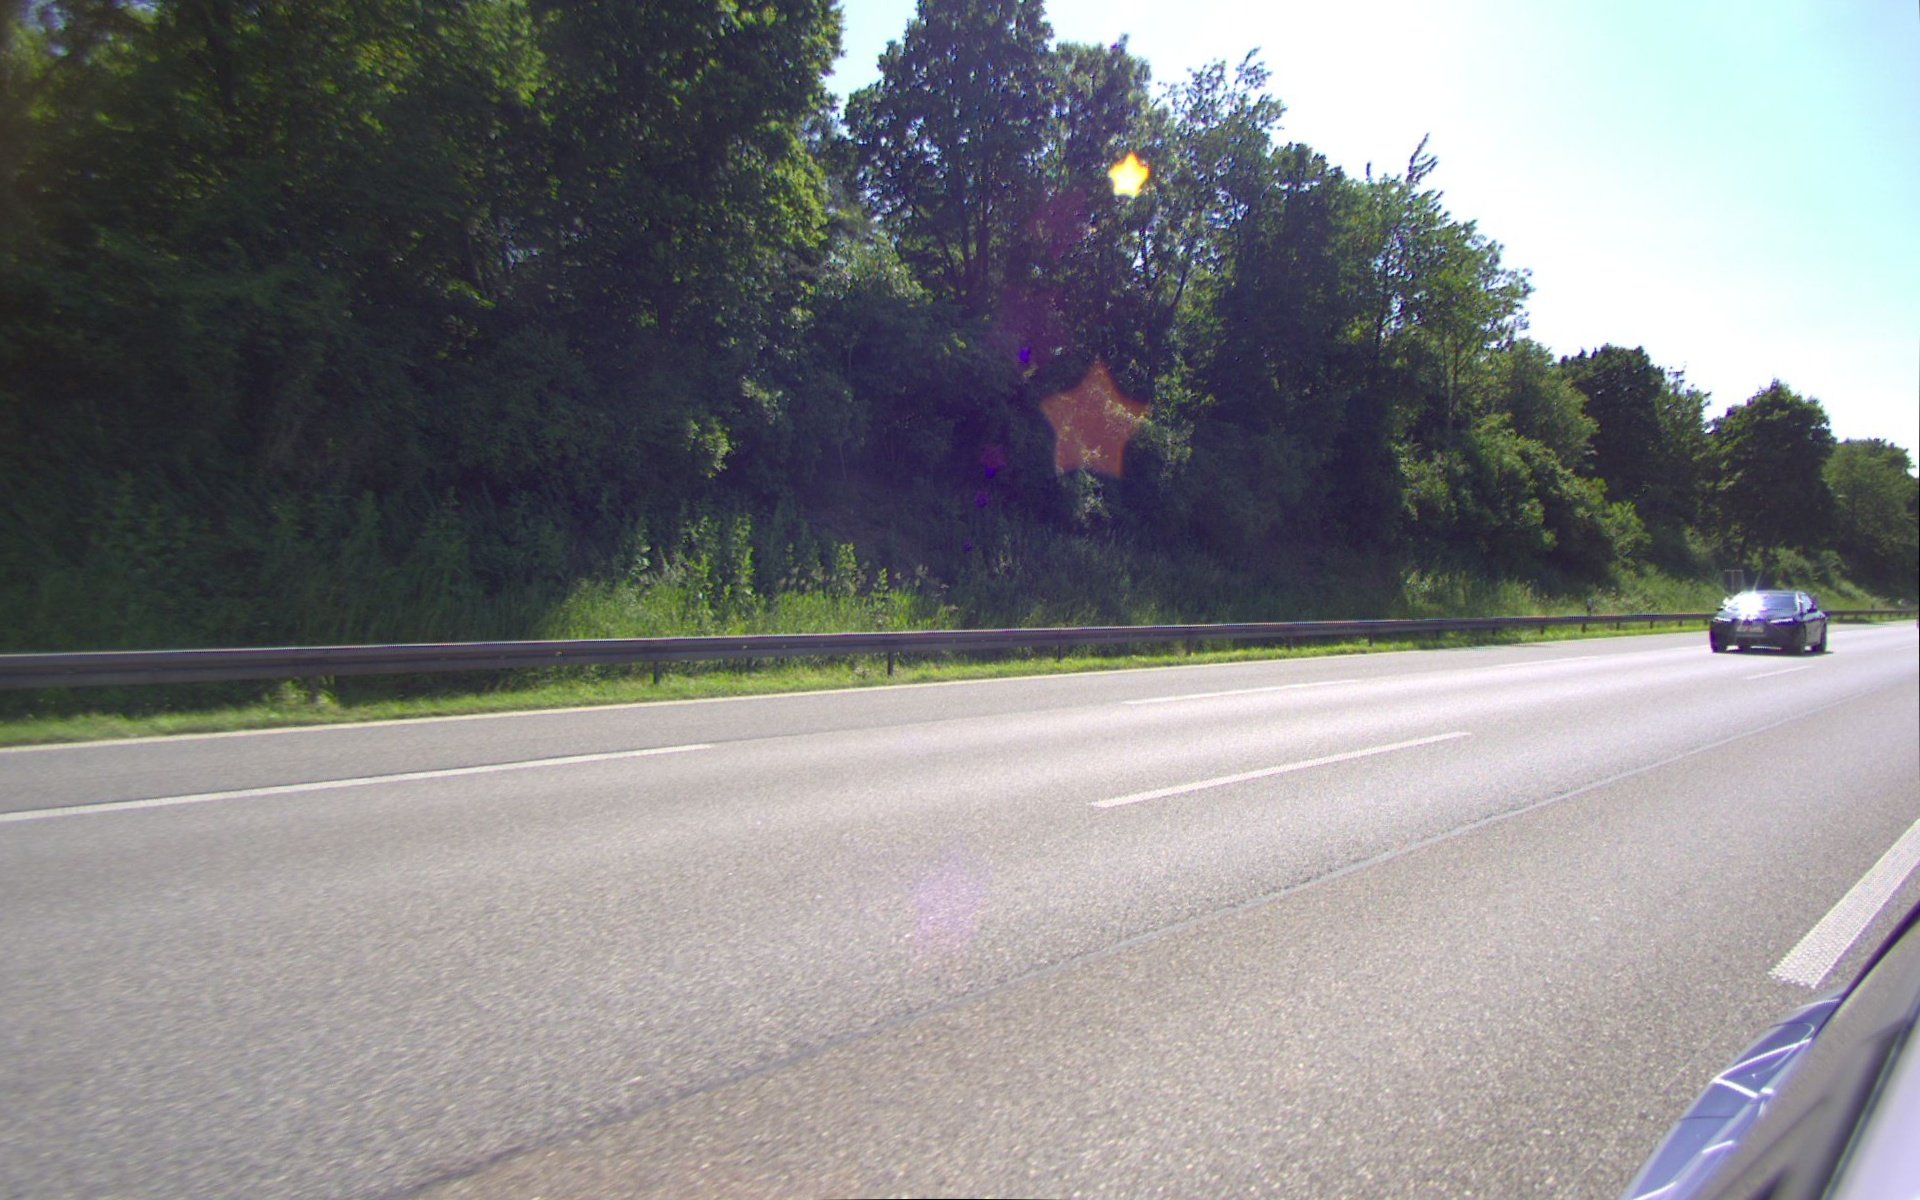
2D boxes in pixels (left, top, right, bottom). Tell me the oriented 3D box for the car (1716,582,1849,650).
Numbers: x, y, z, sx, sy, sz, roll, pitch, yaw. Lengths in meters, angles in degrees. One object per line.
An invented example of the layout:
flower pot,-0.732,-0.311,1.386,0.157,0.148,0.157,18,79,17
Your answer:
car,22.516,0.393,27.646,4.602,1.690,1.924,0,0,-39
